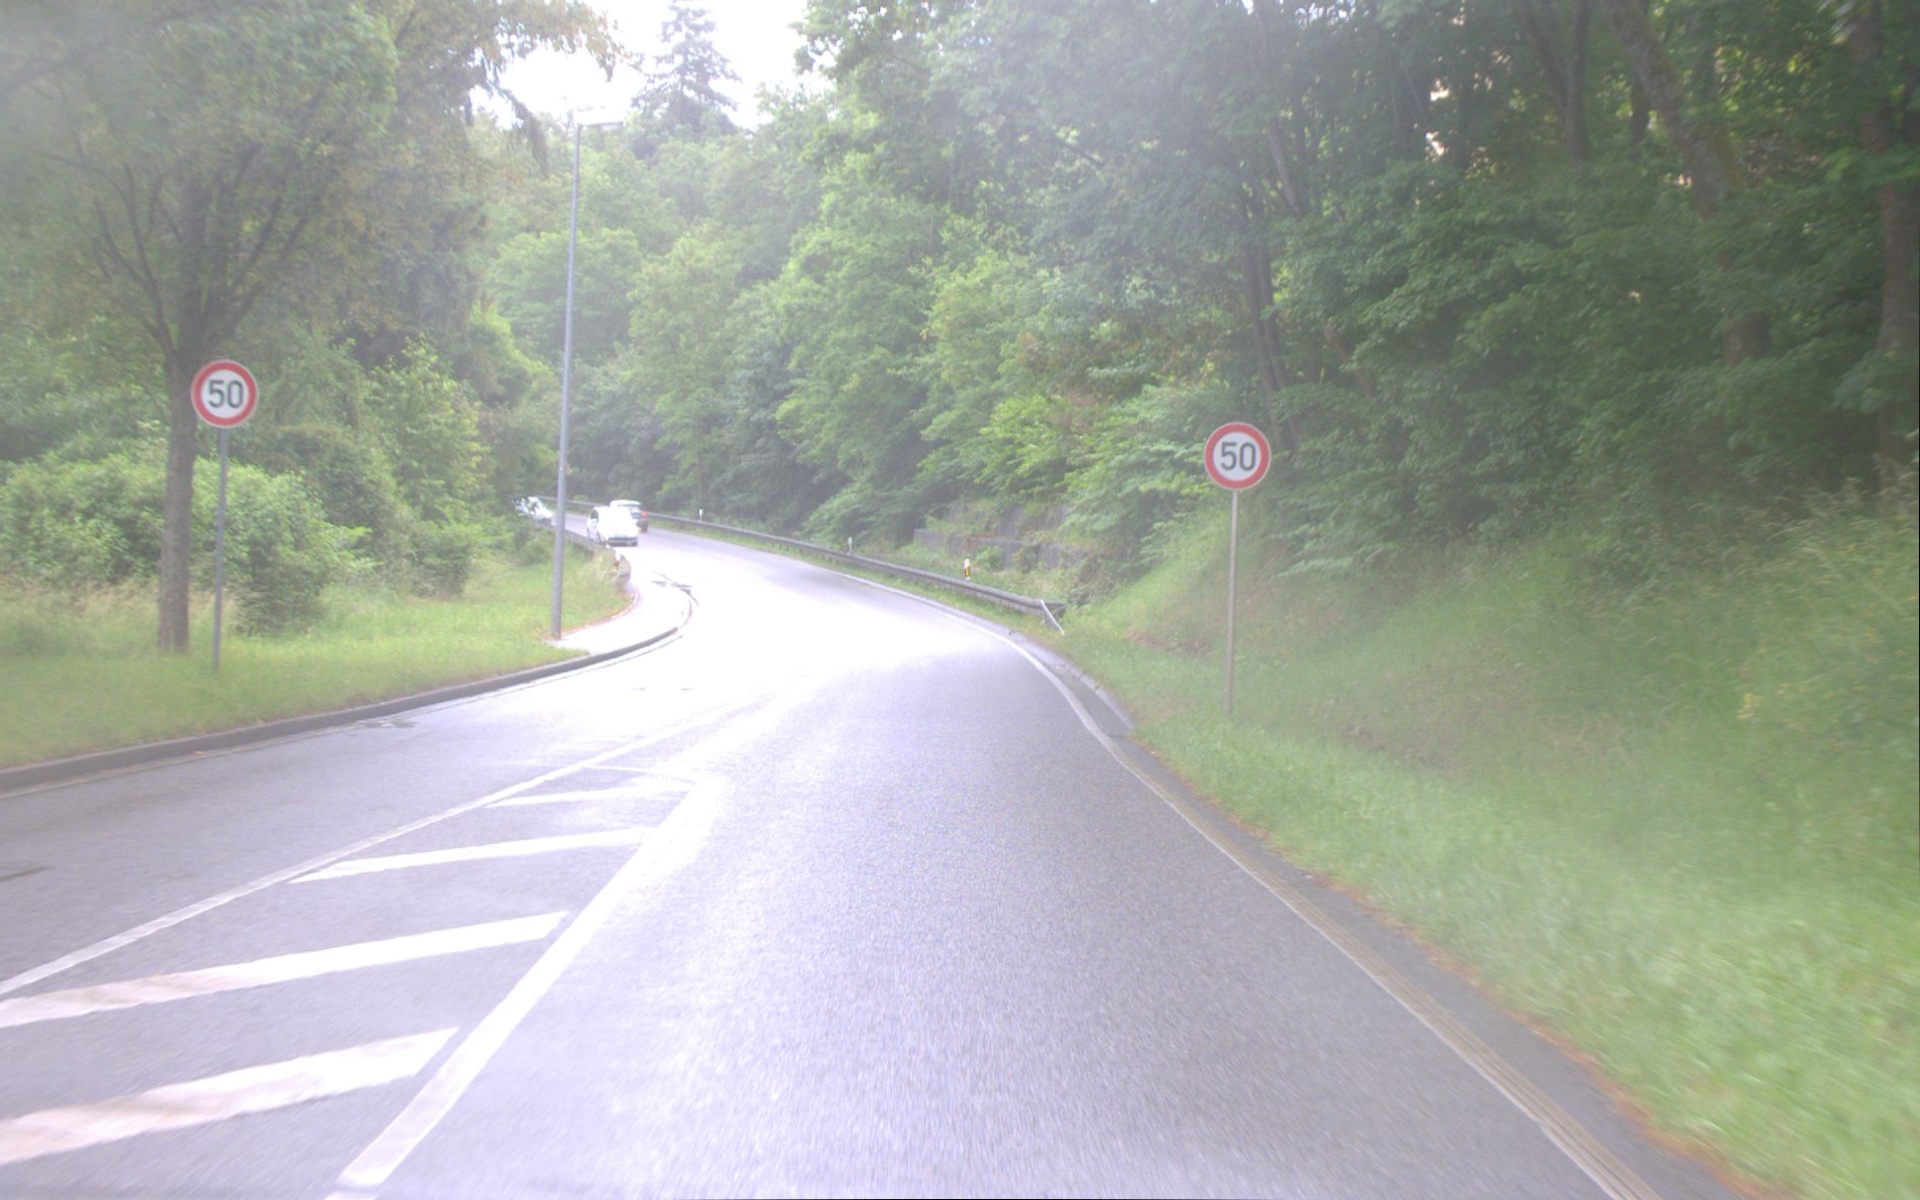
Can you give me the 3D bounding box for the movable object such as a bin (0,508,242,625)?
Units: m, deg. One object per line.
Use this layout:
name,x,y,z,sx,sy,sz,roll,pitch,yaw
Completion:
movable object such as a bin,-15.490,-0.567,57.915,1.849,1.901,7.894,1,1,30

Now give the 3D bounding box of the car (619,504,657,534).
car,-15.938,-4.013,170.383,1.736,1.505,4.001,0,1,-3

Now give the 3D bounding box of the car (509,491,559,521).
car,-21.444,-4.732,173.028,1.814,1.429,4.001,0,1,-17

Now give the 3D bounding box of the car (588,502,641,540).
car,-15.529,-3.517,154.446,1.814,1.642,4.132,0,1,-13
